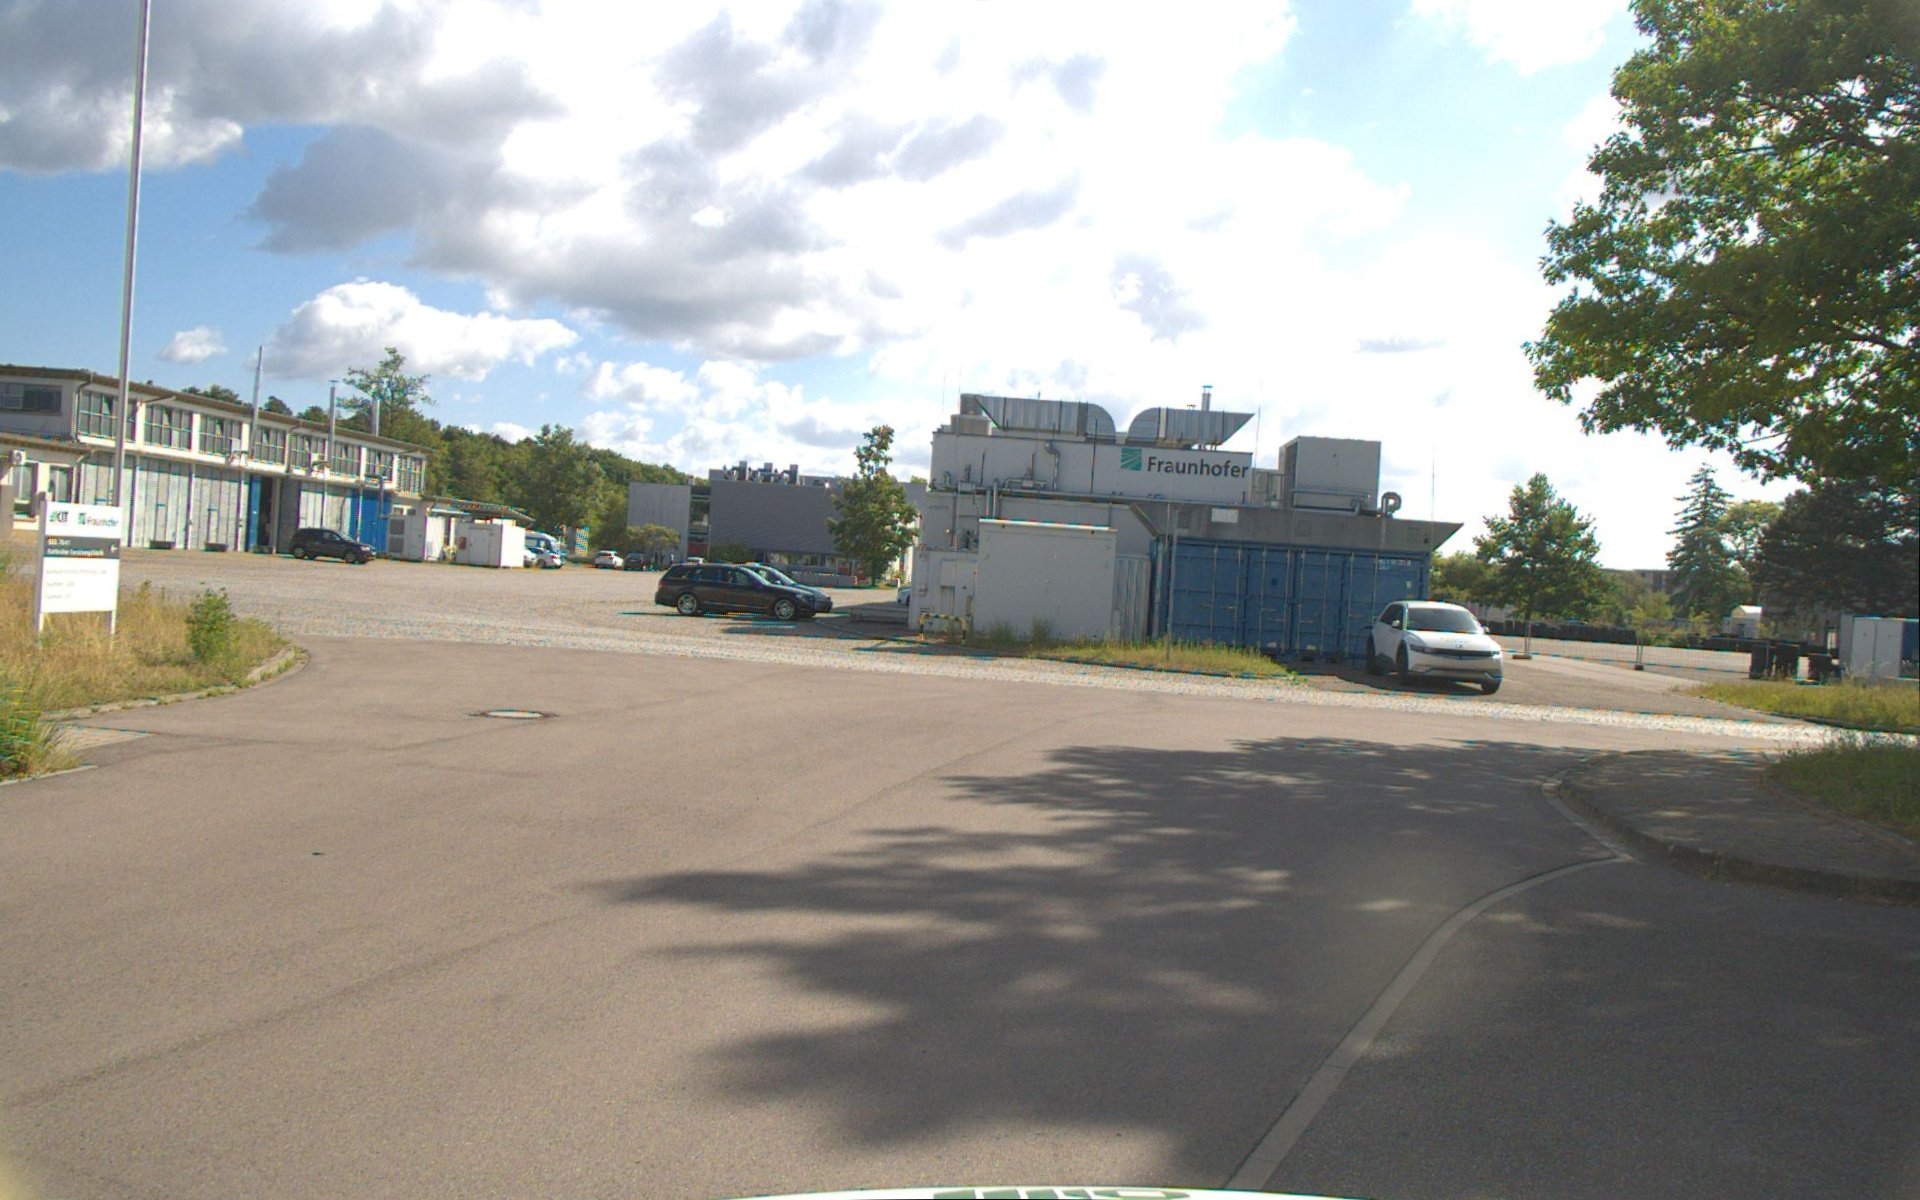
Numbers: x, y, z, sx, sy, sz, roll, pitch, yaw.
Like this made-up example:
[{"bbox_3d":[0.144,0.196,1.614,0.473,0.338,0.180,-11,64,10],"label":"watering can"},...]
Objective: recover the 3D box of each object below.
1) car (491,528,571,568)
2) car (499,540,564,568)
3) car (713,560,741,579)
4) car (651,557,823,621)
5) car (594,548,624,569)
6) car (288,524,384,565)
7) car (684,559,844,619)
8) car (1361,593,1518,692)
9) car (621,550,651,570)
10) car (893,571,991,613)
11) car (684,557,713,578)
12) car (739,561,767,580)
[{"bbox_3d":[-31.353,-3.808,120.899,5.148,2.484,2.051,4,0,7],"label":"car"},{"bbox_3d":[-30.551,-3.265,117.924,4.024,1.658,1.809,4,0,7],"label":"car"},{"bbox_3d":[-20.286,-2.659,143.976,1.839,1.564,4.036,2,0,0],"label":"car"},{"bbox_3d":[-6.219,-0.299,46.492,4.436,1.468,1.988,3,-1,3],"label":"car"},{"bbox_3d":[-30.622,-3.624,144.416,1.809,1.697,4.132,2,0,-2],"label":"car"},{"bbox_3d":[-31.858,-2.831,84.497,4.078,1.694,1.784,5,0,1],"label":"car"},{"bbox_3d":[-5.843,-0.318,49.739,4.436,1.468,1.904,3,-1,3],"label":"car"},{"bbox_3d":[9.531,0.789,33.244,1.940,1.620,4.342,4,2,2],"label":"car"},{"bbox_3d":[-28.230,-3.478,144.201,1.840,1.564,4.034,2,0,-2],"label":"car"},{"bbox_3d":[-0.785,-0.353,74.052,4.190,1.596,1.988,3,-1,3],"label":"car"},{"bbox_3d":[-22.788,-2.819,144.228,1.839,1.719,4.036,2,0,0],"label":"car"},{"bbox_3d":[-17.999,-2.586,144.105,1.839,1.564,4.036,2,0,0],"label":"car"}]
